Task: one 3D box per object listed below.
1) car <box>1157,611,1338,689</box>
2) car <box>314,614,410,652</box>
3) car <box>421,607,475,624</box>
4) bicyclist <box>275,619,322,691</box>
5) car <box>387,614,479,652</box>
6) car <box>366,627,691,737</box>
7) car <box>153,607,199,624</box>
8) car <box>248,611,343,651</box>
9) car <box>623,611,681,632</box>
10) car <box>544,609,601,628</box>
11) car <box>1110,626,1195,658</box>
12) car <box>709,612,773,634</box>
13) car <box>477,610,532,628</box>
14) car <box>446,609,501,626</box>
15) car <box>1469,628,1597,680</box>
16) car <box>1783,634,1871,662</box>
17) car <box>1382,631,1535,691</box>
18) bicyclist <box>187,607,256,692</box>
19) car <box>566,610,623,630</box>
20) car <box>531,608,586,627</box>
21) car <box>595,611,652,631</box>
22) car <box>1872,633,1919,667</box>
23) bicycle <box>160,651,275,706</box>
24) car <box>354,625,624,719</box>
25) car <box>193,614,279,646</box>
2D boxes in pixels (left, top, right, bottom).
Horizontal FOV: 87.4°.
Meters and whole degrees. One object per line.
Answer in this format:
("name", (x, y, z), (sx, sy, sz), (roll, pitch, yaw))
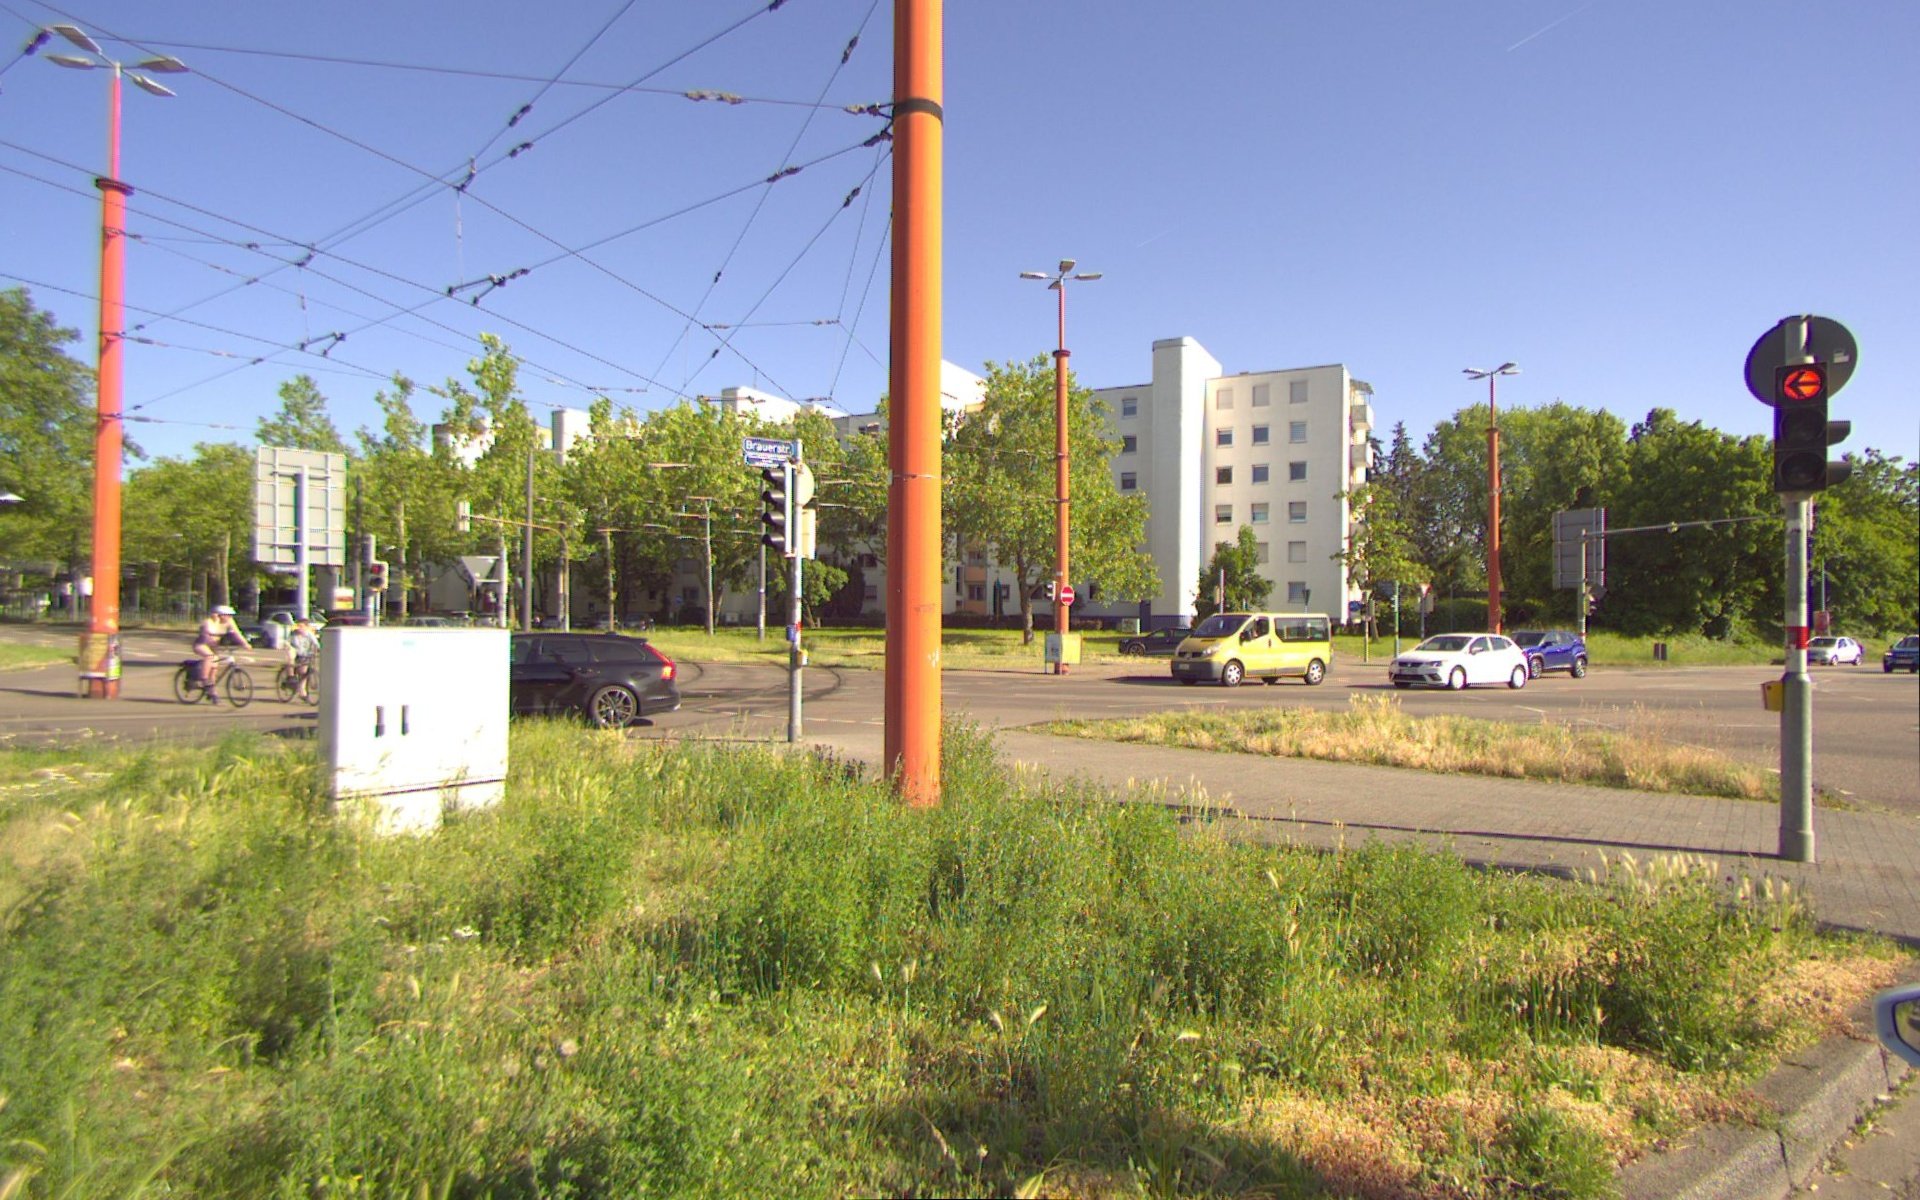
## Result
("car", (7.910, 1.328, 27.536), (4.849, 1.992, 1.984), (1, -1, -30))
("car", (-24.165, 1.322, 40.558), (3.994, 1.454, 1.682), (0, -1, 32))
("car", (-44.788, 1.384, 87.901), (3.935, 1.428, 1.794), (1, -1, -17))
("bicyclist", (-13.113, 1.082, 19.928), (0.616, 1.399, 0.443), (1, -1, -1))
("car", (-22.980, 1.419, 43.755), (4.192, 1.566, 1.852), (0, -2, 35))
("car", (-6.407, 1.149, 15.089), (4.258, 1.435, 1.787), (1, -1, -30))
("car", (-94.085, 1.875, 120.545), (1.969, 2.040, 3.984), (0, -1, 38))
("car", (-29.052, 1.341, 43.891), (4.178, 1.658, 1.825), (0, -1, 31))
("car", (-22.255, 1.546, 72.649), (3.934, 1.428, 1.794), (1, -1, -16))
("car", (-30.075, 1.416, 78.079), (3.934, 1.428, 1.794), (1, -1, -16))
("car", (9.198, 2.018, 48.273), (3.919, 1.428, 1.801), (1, -1, 8))
("car", (-14.542, 1.550, 66.846), (1.770, 1.428, 3.987), (0, -1, 35))
("car", (-38.030, 1.565, 83.889), (3.935, 1.428, 1.794), (1, -1, -17))
("car", (-41.433, 1.483, 85.630), (3.935, 1.428, 1.794), (1, -1, -17))
("car", (19.110, 1.767, 33.480), (4.058, 1.595, 1.984), (1, 0, -30))
("car", (45.605, 2.527, 52.845), (3.937, 1.416, 1.749), (1, -1, -18))
("car", (13.031, 1.559, 26.210), (3.973, 1.425, 1.681), (1, -1, -30))
("bicyclist", (-13.979, 0.931, 19.030), (0.752, 1.565, 0.732), (1, -1, -1))
("car", (-27.576, 1.484, 75.924), (3.934, 1.428, 1.794), (1, -1, -16))
("car", (-31.936, 1.366, 79.976), (3.935, 1.428, 1.794), (1, -1, -17))
("car", (-24.995, 1.554, 74.700), (3.934, 1.428, 1.794), (1, -1, -16))
("car", (38.280, 1.988, 40.166), (3.571, 1.260, 1.730), (1, -1, -31))
("bicycle", (-14.006, 1.475, 18.973), (1.613, 0.974, 0.685), (1, -1, -2))
("car", (-8.389, 1.238, 18.155), (4.185, 1.528, 1.782), (1, -1, -26))
("car", (-34.568, 1.400, 47.932), (4.286, 1.368, 1.762), (1, 0, 31))
